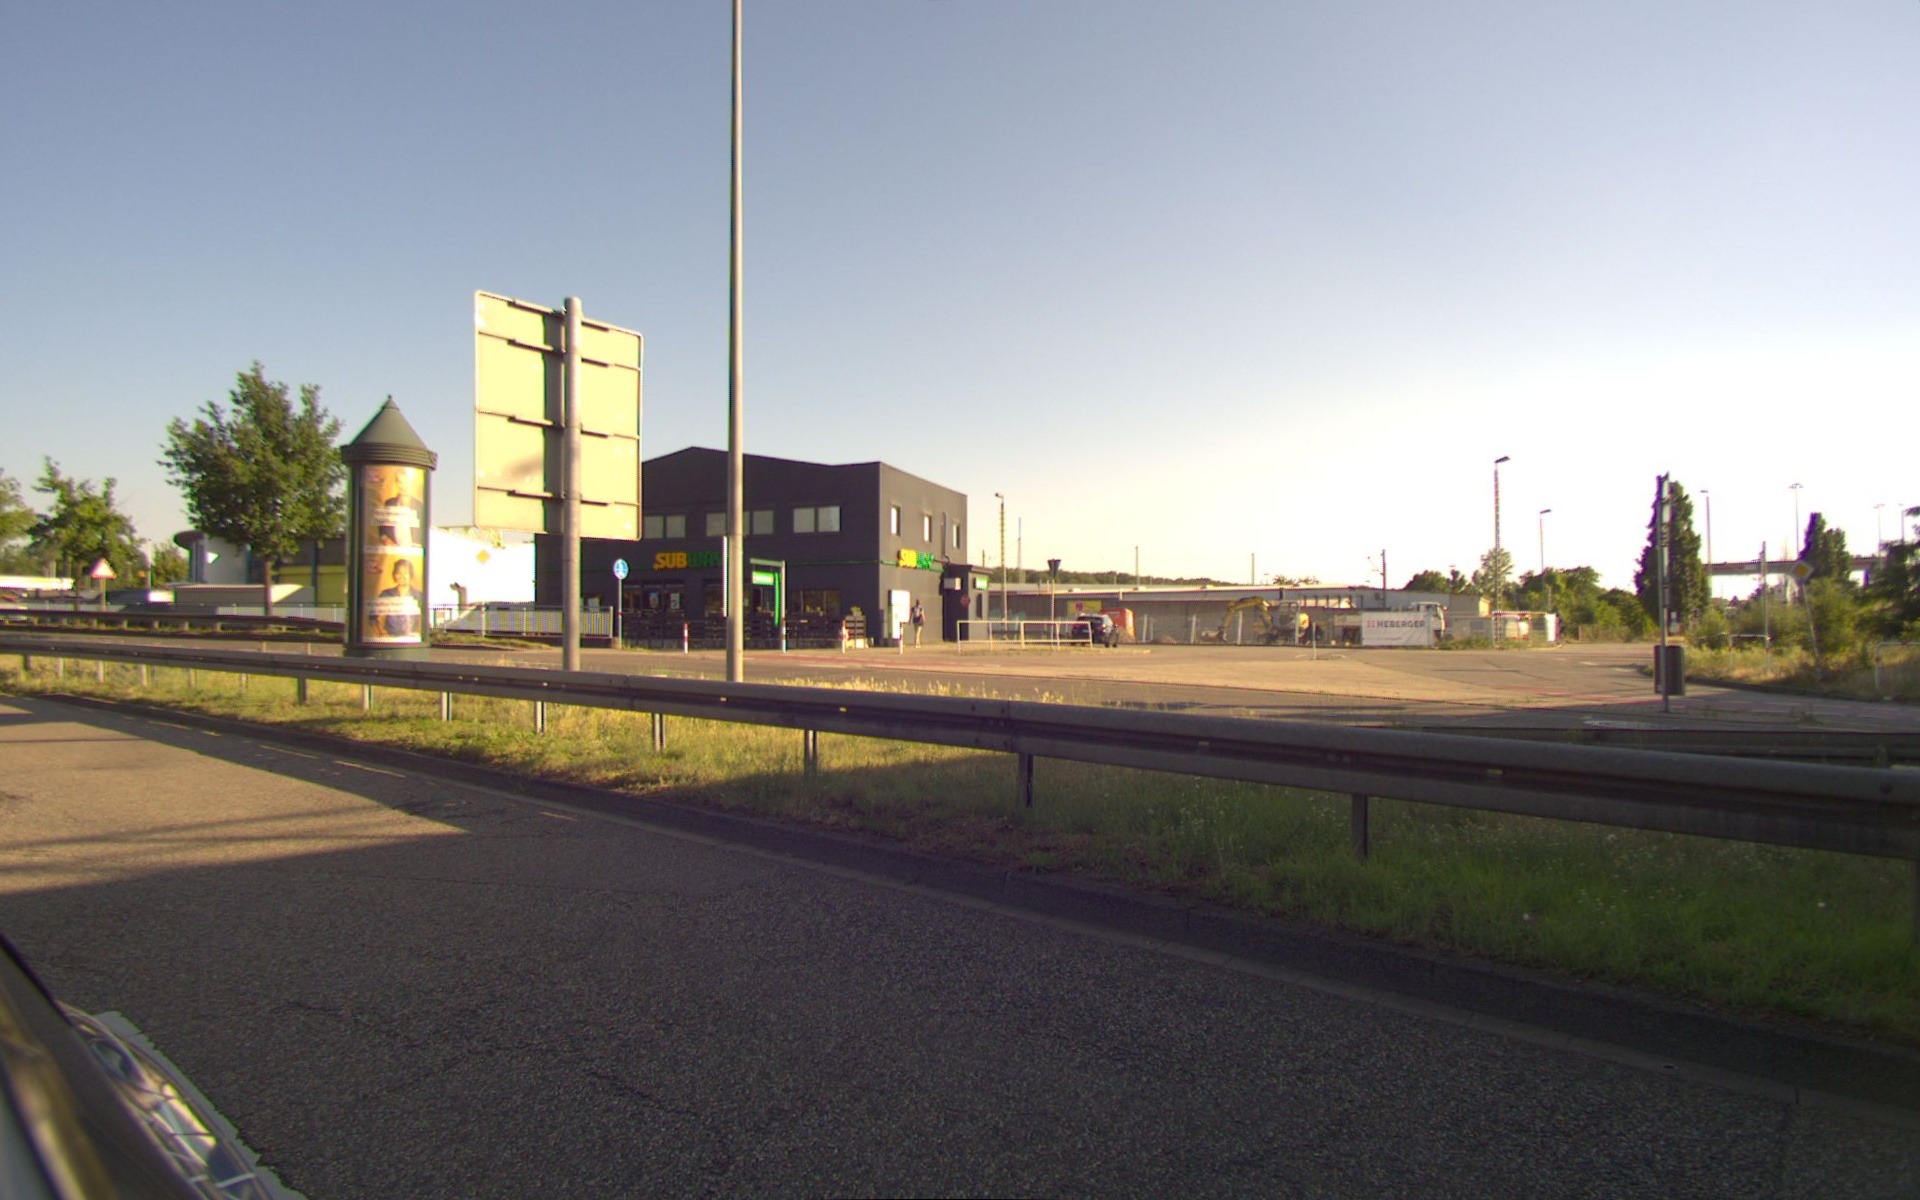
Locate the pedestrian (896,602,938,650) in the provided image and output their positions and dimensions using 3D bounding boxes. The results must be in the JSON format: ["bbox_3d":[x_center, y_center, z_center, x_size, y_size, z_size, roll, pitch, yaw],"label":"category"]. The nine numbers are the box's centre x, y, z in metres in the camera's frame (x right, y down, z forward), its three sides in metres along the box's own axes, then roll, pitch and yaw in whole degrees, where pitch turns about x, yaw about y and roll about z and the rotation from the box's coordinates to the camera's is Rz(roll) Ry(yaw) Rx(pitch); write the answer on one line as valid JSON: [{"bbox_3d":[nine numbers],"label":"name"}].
[{"bbox_3d":[-1.685,0.995,39.635,1.084,1.849,1.258,-1,0,40],"label":"pedestrian"}]

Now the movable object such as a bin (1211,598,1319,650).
[{"bbox_3d":[20.024,1.547,66.433,6.584,3.241,2.429,-1,0,22],"label":"movable object such as a bin"}]
